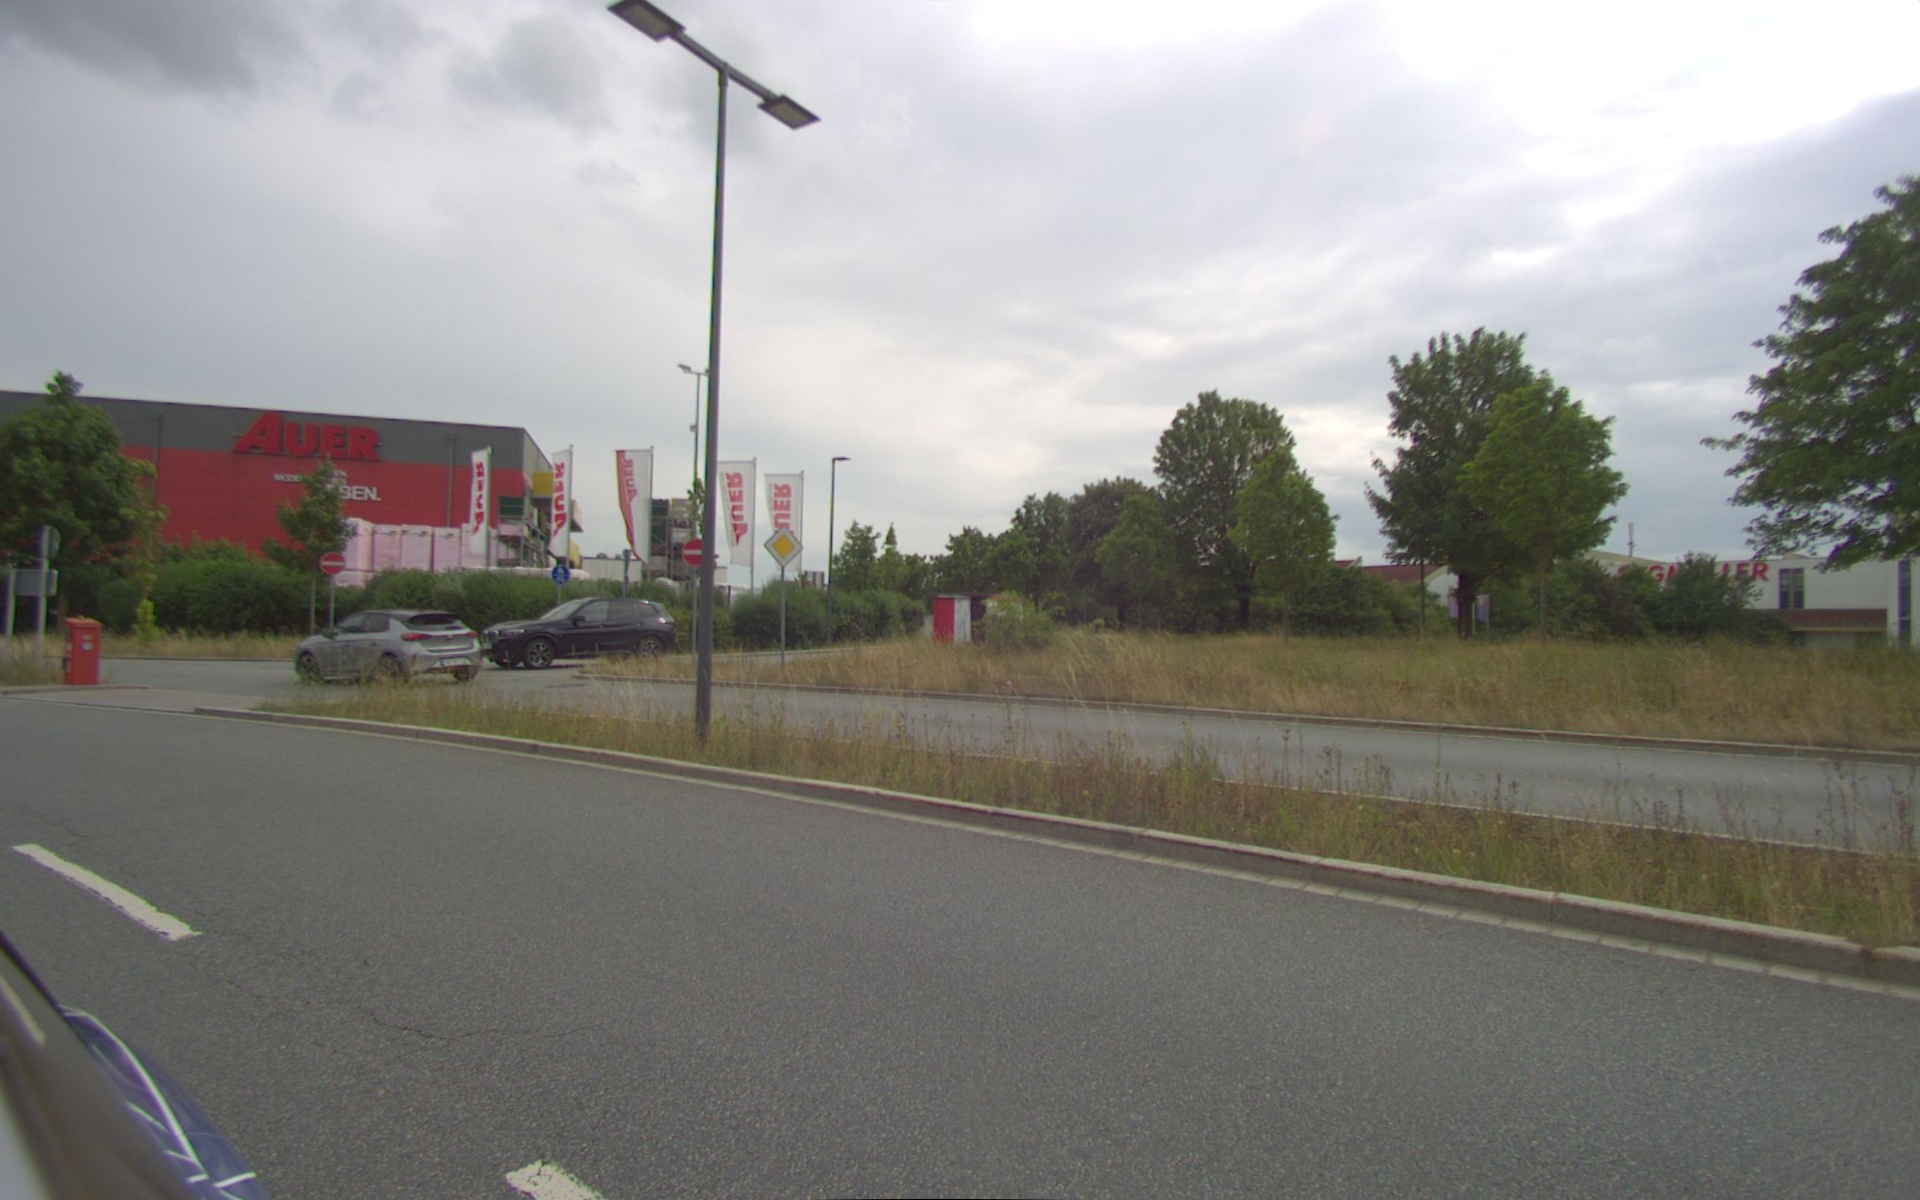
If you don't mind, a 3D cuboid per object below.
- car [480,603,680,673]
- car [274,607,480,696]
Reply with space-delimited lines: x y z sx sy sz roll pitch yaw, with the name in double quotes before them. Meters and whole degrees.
"car" -9.190 0.887 24.715 1.873 1.561 4.196 0 -1 42
"car" -11.353 0.936 19.670 4.075 1.497 1.450 0 2 27
